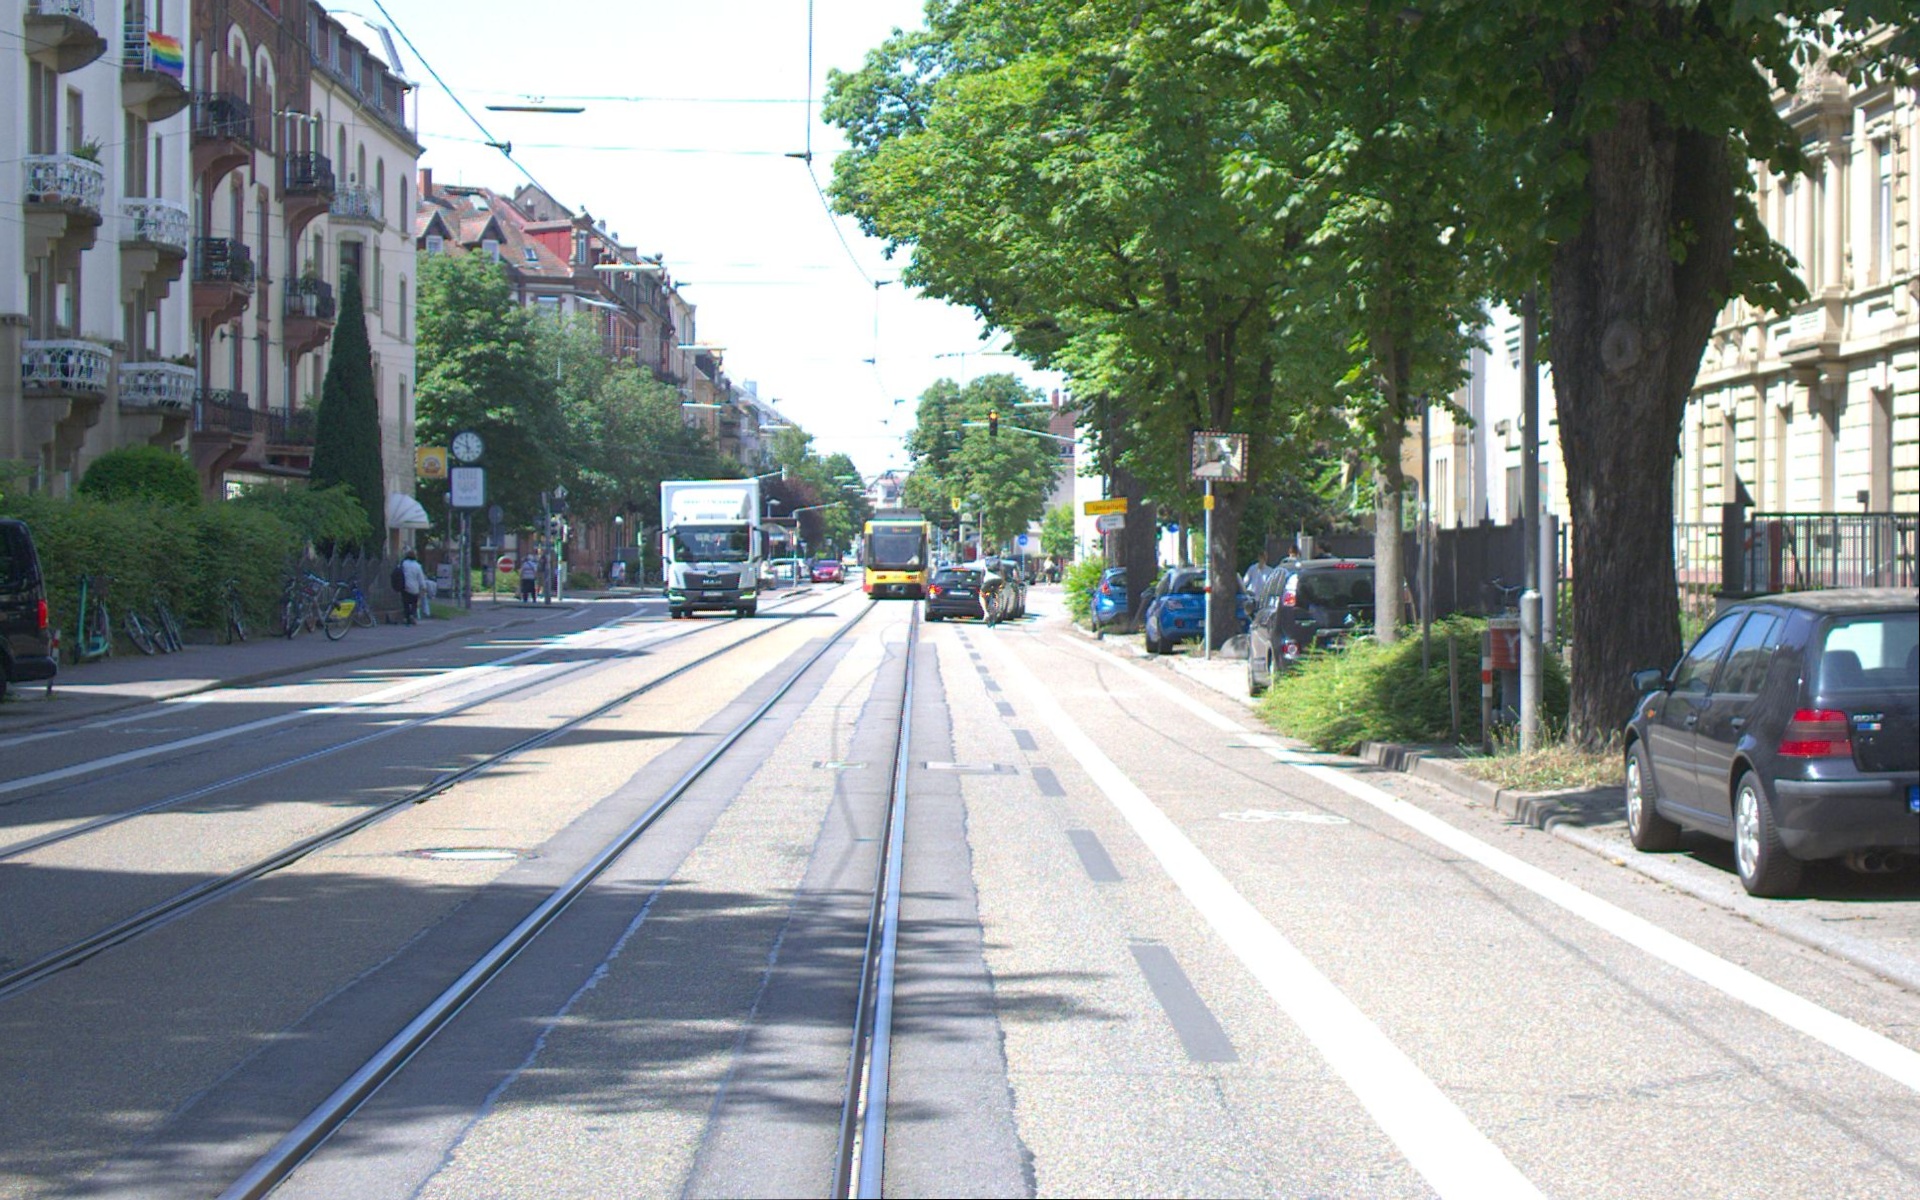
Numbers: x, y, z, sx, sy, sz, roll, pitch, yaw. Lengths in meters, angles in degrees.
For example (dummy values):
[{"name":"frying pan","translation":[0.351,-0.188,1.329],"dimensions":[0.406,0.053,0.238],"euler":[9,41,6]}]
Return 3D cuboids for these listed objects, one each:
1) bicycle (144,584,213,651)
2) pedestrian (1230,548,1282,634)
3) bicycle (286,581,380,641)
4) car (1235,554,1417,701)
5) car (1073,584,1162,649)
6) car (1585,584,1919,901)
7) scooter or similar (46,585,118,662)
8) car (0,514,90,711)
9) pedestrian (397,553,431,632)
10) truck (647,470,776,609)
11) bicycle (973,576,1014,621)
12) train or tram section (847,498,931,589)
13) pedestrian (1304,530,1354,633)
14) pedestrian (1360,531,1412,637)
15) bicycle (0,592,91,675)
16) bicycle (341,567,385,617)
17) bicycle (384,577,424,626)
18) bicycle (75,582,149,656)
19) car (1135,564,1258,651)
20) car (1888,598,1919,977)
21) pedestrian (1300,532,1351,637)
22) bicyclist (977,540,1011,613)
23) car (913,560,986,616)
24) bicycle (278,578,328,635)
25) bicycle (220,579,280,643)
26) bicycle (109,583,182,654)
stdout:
[{"name":"bicycle","translation":[-11.556,0.267,50.860],"dimensions":[0.543,0.966,1.990],"euler":[2,-1,0]},{"name":"pedestrian","translation":[5.351,-0.160,62.099],"dimensions":[0.809,1.525,0.623],"euler":[0,-1,17]},{"name":"bicycle","translation":[-10.675,0.189,58.605],"dimensions":[0.544,0.966,1.778],"euler":[1,-1,29]},{"name":"car","translation":[4.186,0.291,39.782],"dimensions":[1.592,1.611,3.908],"euler":[0,0,-1]},{"name":"car","translation":[3.512,0.348,77.338],"dimensions":[1.710,1.418,4.310],"euler":[0,0,-1]},{"name":"car","translation":[4.512,0.638,17.737],"dimensions":[1.710,1.418,4.244],"euler":[0,0,-1]},{"name":"scooter or similar","translation":[-11.533,0.300,45.194],"dimensions":[0.543,0.966,1.499],"euler":[2,1,0]},{"name":"car","translation":[-10.994,0.127,33.708],"dimensions":[4.474,1.934,1.704],"euler":[0,0,-39]},{"name":"pedestrian","translation":[-11.271,-0.154,70.969],"dimensions":[0.572,1.610,0.816],"euler":[0,1,0]},{"name":"truck","translation":[-6.597,-1.629,92.281],"dimensions":[2.939,3.538,8.453],"euler":[0,1,-1]},{"name":"bicycle","translation":[0.762,-0.033,77.985],"dimensions":[0.639,0.966,1.780],"euler":[2,-1,9]},{"name":"train or tram section","translation":[-2.723,-2.214,135.375],"dimensions":[3.035,3.427,11.971],"euler":[0,1,0]},{"name":"pedestrian","translation":[6.753,-0.336,62.885],"dimensions":[0.808,1.853,0.623],"euler":[0,-1,-2]},{"name":"pedestrian","translation":[7.525,-0.272,60.763],"dimensions":[0.808,1.853,0.623],"euler":[0,-1,-2]},{"name":"bicycle","translation":[-11.499,0.407,43.263],"dimensions":[0.543,0.966,2.249],"euler":[2,1,0]},{"name":"bicycle","translation":[-11.841,-0.167,68.248],"dimensions":[0.543,0.966,1.781],"euler":[2,1,0]},{"name":"bicycle","translation":[-11.736,0.024,72.587],"dimensions":[0.543,0.966,1.781],"euler":[2,2,0]},{"name":"bicycle","translation":[-11.546,0.262,46.853],"dimensions":[0.543,0.966,1.822],"euler":[2,-1,0]},{"name":"car","translation":[4.019,0.108,58.974],"dimensions":[1.710,1.418,4.310],"euler":[0,0,-1]},{"name":"car","translation":[4.631,0.729,11.350],"dimensions":[1.876,1.450,4.528],"euler":[0,0,0]},{"name":"pedestrian","translation":[6.495,-0.266,61.101],"dimensions":[0.808,1.853,0.576],"euler":[0,-1,-2]},{"name":"bicyclist","translation":[0.780,-0.535,78.071],"dimensions":[0.622,1.610,0.864],"euler":[2,-1,8]},{"name":"car","translation":[-0.268,-0.304,85.024],"dimensions":[1.781,1.341,3.416],"euler":[0,1,0]},{"name":"bicycle","translation":[-11.756,0.110,61.578],"dimensions":[0.543,0.966,1.781],"euler":[2,1,0]},{"name":"bicycle","translation":[-11.561,0.177,56.023],"dimensions":[0.543,0.966,1.990],"euler":[2,1,0]},{"name":"bicycle","translation":[-11.556,0.257,48.812],"dimensions":[0.543,0.966,1.990],"euler":[2,0,0]}]
